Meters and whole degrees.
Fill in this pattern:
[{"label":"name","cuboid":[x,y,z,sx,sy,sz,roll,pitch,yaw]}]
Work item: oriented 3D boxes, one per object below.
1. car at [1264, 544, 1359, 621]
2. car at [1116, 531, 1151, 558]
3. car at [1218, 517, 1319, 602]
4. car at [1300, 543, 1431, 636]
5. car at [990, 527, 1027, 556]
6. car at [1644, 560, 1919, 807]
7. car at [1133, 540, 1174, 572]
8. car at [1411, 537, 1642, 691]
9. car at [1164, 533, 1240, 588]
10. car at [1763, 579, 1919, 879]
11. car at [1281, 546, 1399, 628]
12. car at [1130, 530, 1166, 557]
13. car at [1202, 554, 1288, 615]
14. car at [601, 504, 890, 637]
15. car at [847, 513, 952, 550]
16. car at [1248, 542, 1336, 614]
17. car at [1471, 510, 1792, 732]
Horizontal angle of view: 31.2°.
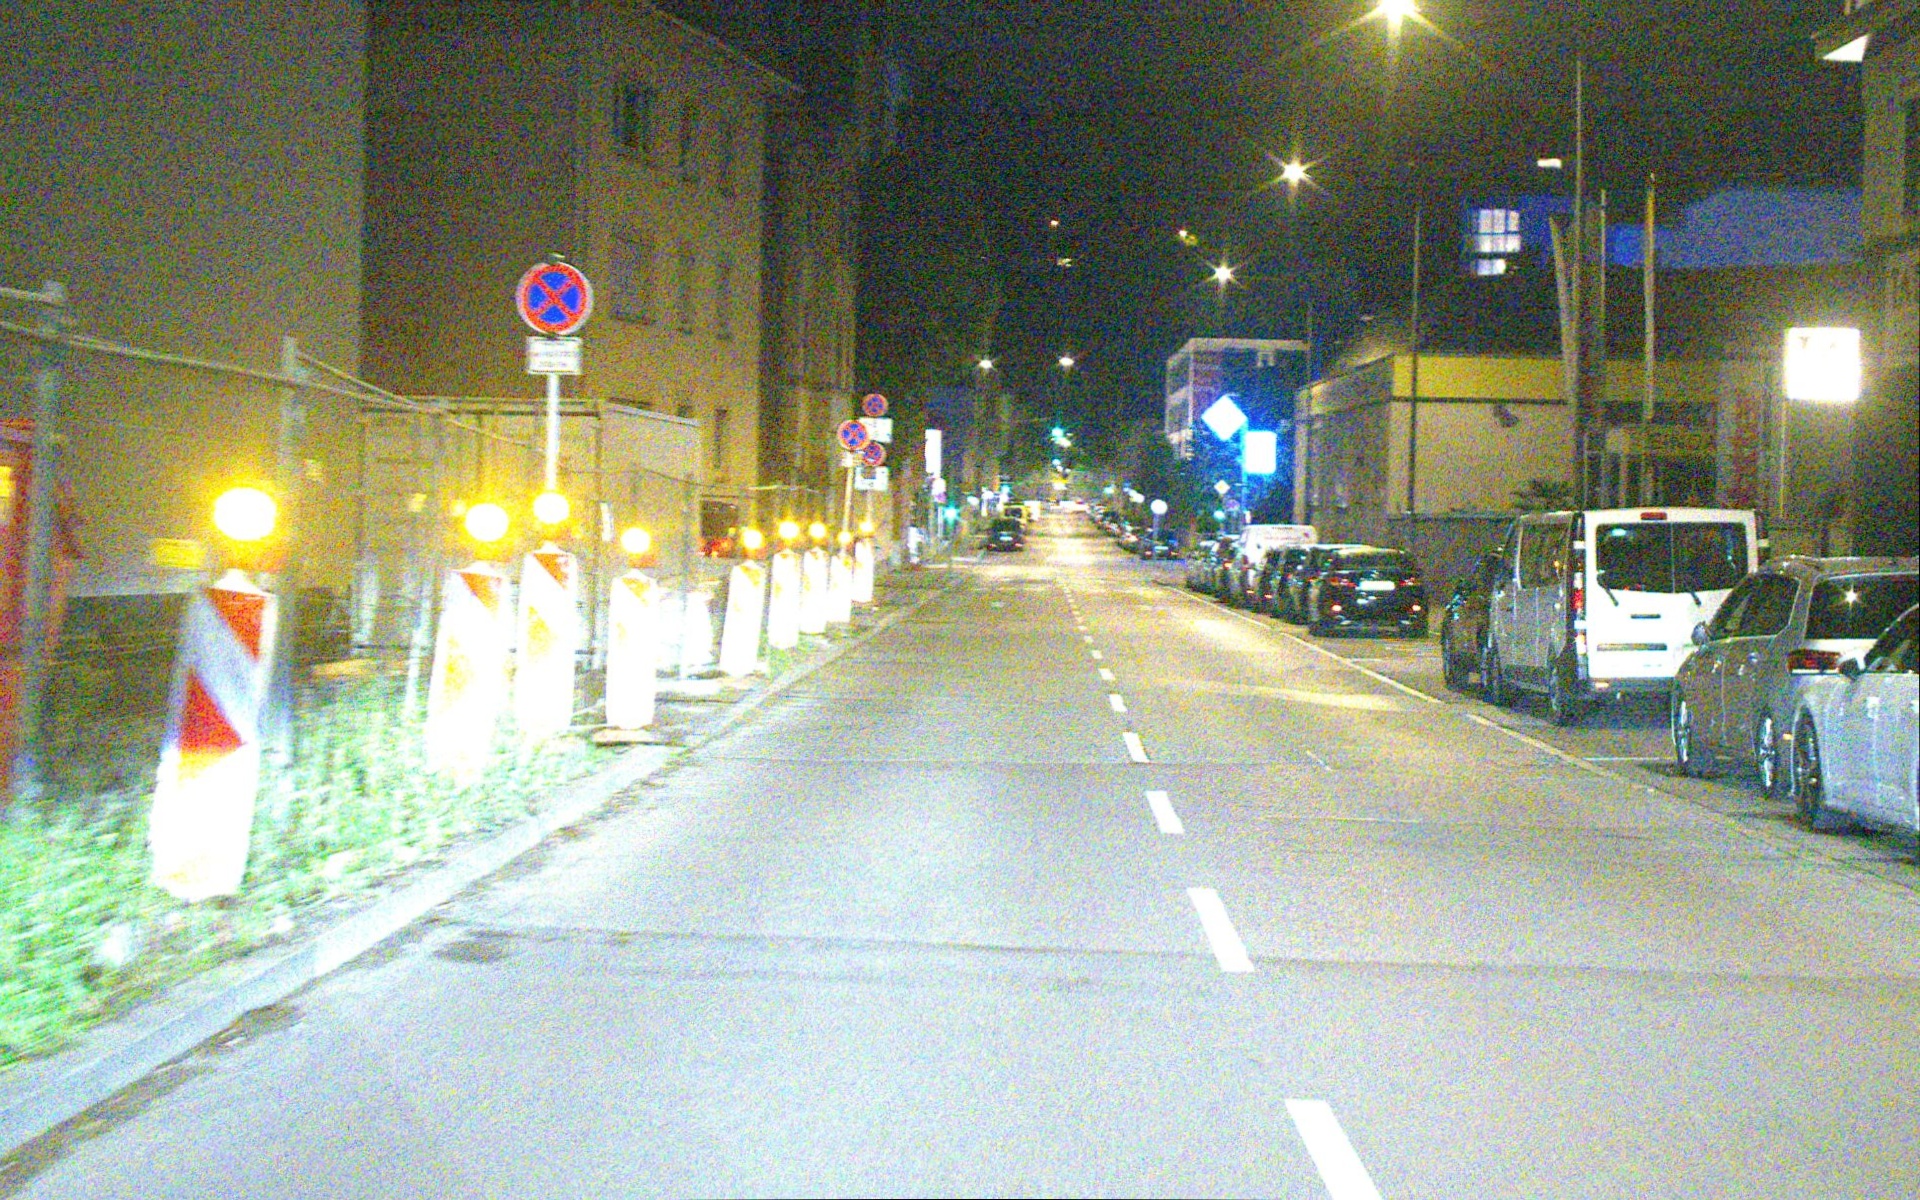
[{"label":"car","cuboid":[7.031,-0.369,69.065,1.595,1.462,3.719,2,1,2]},{"label":"car","cuboid":[10.352,-3.293,205.380,1.994,1.515,4.000,2,1,3]},{"label":"car","cuboid":[7.101,-0.965,79.458,1.800,1.868,4.774,0,1,-1]},{"label":"car","cuboid":[6.717,-0.196,57.287,1.779,1.422,4.480,2,1,2]},{"label":"car","cuboid":[2.708,-3.275,192.916,1.993,1.497,4.000,2,1,1]},{"label":"car","cuboid":[6.020,0.503,23.848,1.744,1.560,4.211,0,1,1]},{"label":"car","cuboid":[9.819,-2.244,174.470,1.994,1.511,4.000,2,2,3]},{"label":"car","cuboid":[6.300,0.119,38.630,1.819,1.593,4.221,-1,1,-1]},{"label":"car","cuboid":[7.050,-1.157,100.325,1.774,1.539,4.547,2,1,-1]},{"label":"car","cuboid":[5.775,0.655,18.663,1.744,1.503,4.834,0,1,1]},{"label":"car","cuboid":[7.049,-0.264,64.102,1.779,1.422,3.892,2,1,1]},{"label":"car","cuboid":[10.845,-3.255,198.065,1.994,1.515,4.000,2,1,3]},{"label":"car","cuboid":[6.991,-0.405,84.559,1.816,1.422,4.189,0,1,1]},{"label":"car","cuboid":[-3.273,-0.458,52.794,3.990,1.882,1.908,2,1,14]},{"label":"car","cuboid":[-2.631,-2.983,150.327,4.439,1.444,2.000,2,1,1]},{"label":"car","cuboid":[7.091,-0.480,73.758,1.595,1.462,3.891,2,1,2]},{"label":"car","cuboid":[6.226,0.148,32.513,2.072,1.922,5.371,0,1,1]}]
